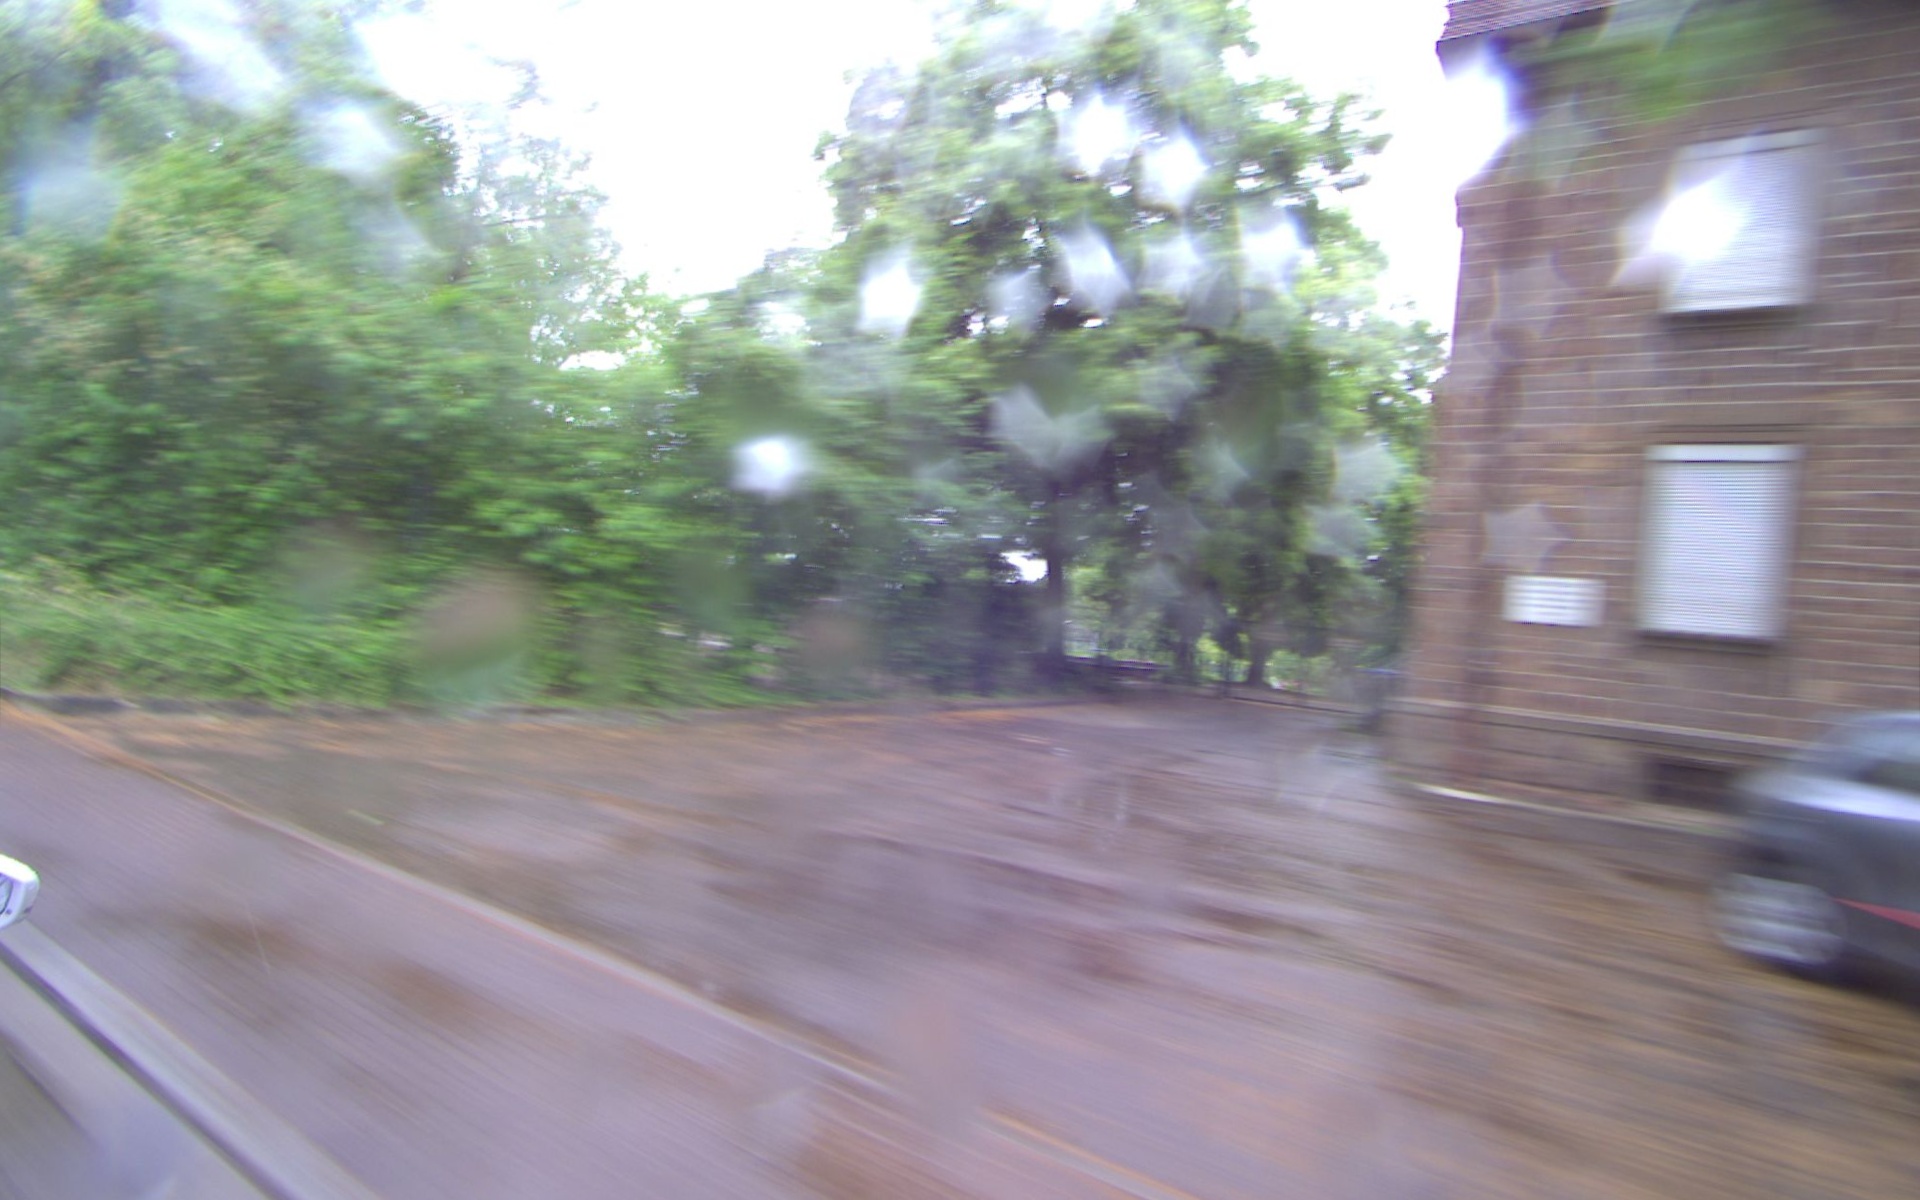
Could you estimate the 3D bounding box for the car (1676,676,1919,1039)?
[{"bbox_3d":[5.304,1.314,4.236,1.593,1.570,3.609,6,0,-7],"label":"car"}]
